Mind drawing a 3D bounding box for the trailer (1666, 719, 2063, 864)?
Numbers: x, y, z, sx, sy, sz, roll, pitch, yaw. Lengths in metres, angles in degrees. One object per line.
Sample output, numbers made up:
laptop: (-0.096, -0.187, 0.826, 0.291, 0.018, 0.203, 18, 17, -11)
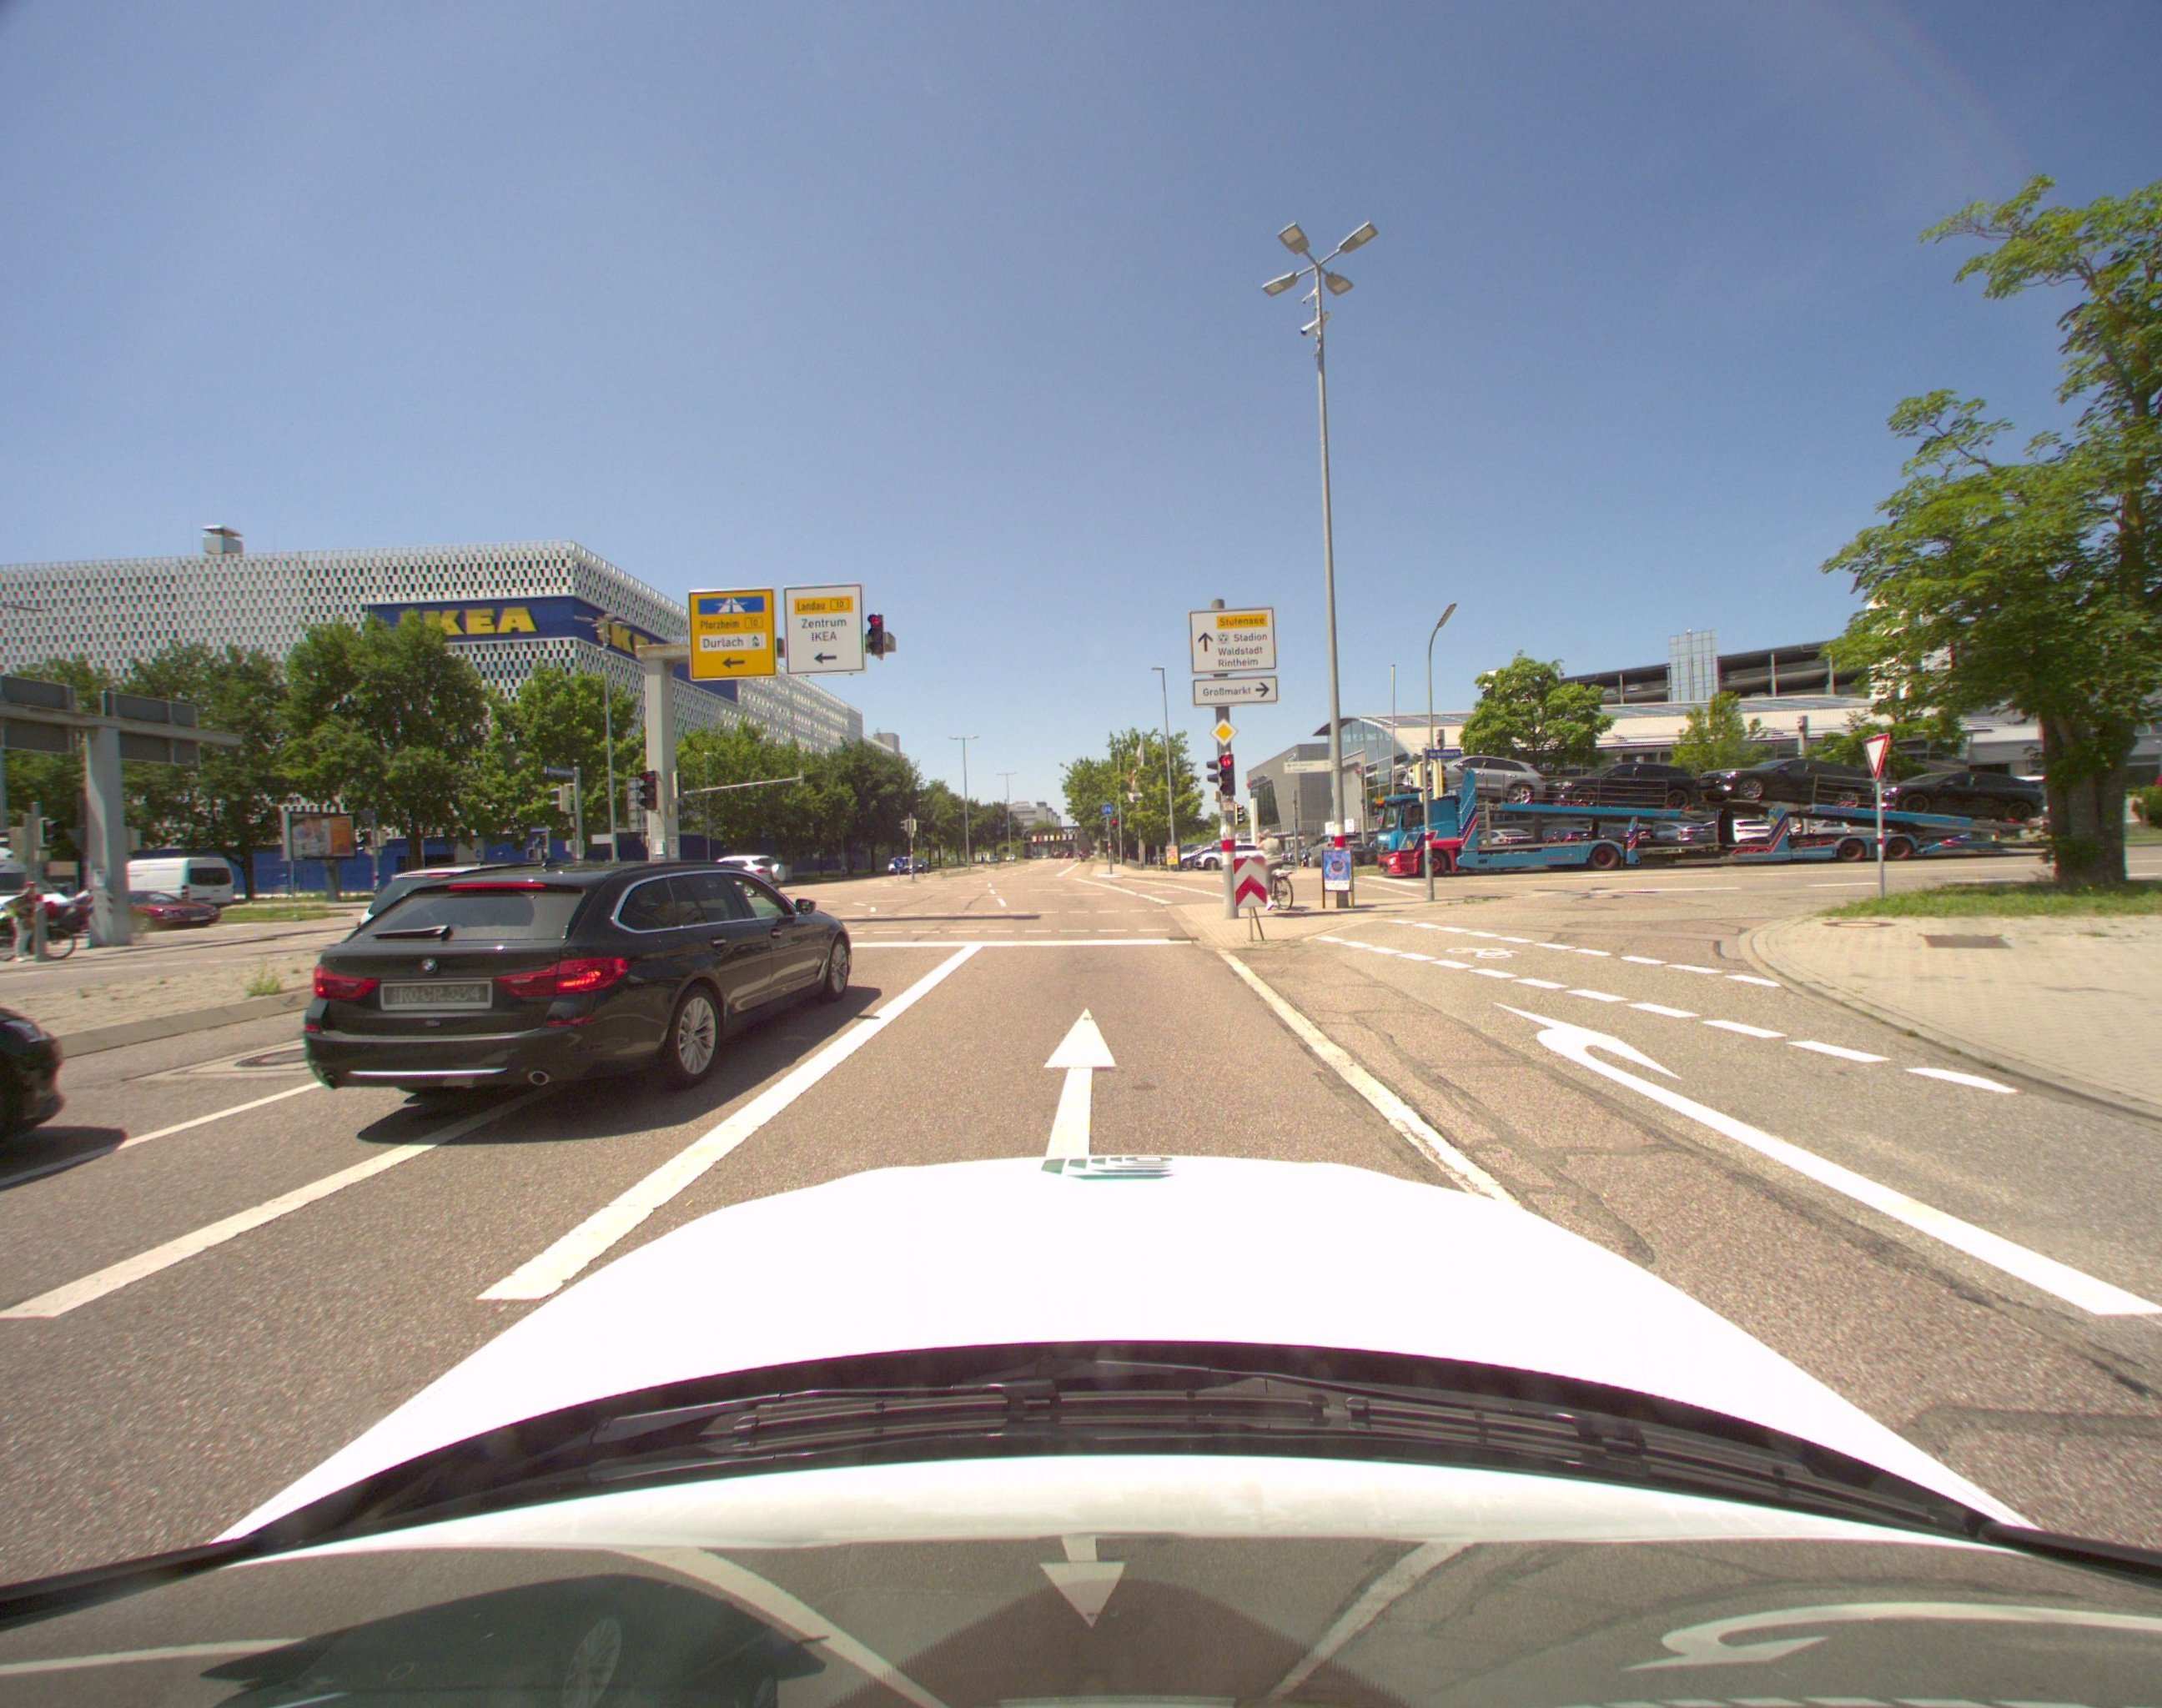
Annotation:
trailer: (25.531, -1.953, 27.068, 9.561, 4.081, 3.101, -2, 1, 7)

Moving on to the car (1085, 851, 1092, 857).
car: (2.177, 0.019, 229.758, 1.766, 1.728, 4.000, -3, 0, 1)

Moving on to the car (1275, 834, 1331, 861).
car: (18.146, -0.542, 66.656, 3.972, 2.013, 2.001, -3, 0, 1)

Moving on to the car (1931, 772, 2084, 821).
car: (45.272, -2.785, 39.888, 5.110, 2.013, 2.001, -3, 0, 1)

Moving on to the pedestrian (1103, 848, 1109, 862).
pedestrian: (2.884, 0.118, 93.623, 0.665, 1.510, 0.736, -3, 0, 1)

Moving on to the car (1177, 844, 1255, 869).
car: (8.888, 0.144, 53.893, 4.727, 1.457, 1.999, -2, 1, -1)

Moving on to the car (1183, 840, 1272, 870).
car: (8.264, 0.084, 46.174, 4.722, 1.457, 2.001, -2, -1, 2)

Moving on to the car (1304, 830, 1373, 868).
car: (12.247, -0.276, 39.064, 1.987, 1.639, 4.269, -2, 1, 1)

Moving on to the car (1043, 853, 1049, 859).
car: (-10.853, 0.658, 254.867, 1.644, 1.653, 4.161, -3, 0, -2)

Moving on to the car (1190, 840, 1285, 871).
car: (8.252, 0.064, 43.260, 4.722, 1.457, 2.002, -2, 1, 2)

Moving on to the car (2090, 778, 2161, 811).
car: (63.874, -3.605, 48.846, 1.727, 1.786, 4.001, -3, 0, 1)

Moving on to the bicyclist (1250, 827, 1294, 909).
bicyclist: (4.175, 0.297, 17.858, 0.732, 1.749, 0.753, -1, 1, -4)

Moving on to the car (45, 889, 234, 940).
car: (-31.374, 2.000, 27.218, 4.266, 1.342, 1.777, -3, 1, 2)

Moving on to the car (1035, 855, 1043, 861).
car: (-11.099, 1.066, 213.106, 1.726, 1.427, 3.706, -4, 0, 1)

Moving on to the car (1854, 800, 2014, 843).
car: (39.167, -1.472, 37.566, 4.706, 1.639, 1.844, -3, 1, 23)

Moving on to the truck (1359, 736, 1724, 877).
truck: (15.494, -1.555, 28.221, 10.561, 4.082, 3.107, -2, 1, 7)

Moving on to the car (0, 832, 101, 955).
car: (-34.304, 1.245, 24.500, 6.876, 3.485, 2.184, -2, 2, 1)

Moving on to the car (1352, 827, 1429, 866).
car: (14.717, -0.375, 39.034, 1.987, 1.639, 4.558, -3, 1, 1)

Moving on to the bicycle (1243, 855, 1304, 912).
bicycle: (4.207, 0.610, 17.939, 0.785, 1.127, 1.919, -2, 1, -3)

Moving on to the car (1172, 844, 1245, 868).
car: (8.848, 0.114, 56.694, 4.727, 1.457, 1.999, -2, 1, -1)

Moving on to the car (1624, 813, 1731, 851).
car: (28.377, -1.023, 38.949, 1.821, 1.639, 4.475, -3, 1, 1)

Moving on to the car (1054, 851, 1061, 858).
car: (-6.566, 0.147, 225.452, 1.766, 1.728, 4.000, -3, 0, 1)

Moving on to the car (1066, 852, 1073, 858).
car: (-3.128, 0.259, 230.508, 1.766, 1.728, 4.000, -3, 0, 1)

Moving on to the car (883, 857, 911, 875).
car: (-21.268, 1.369, 94.336, 1.986, 2.007, 4.765, -3, 0, 1)

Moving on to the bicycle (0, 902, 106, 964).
bicycle: (-23.519, 1.779, 18.185, 2.089, 1.212, 0.995, -3, 0, -5)

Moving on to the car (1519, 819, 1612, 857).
car: (23.150, -0.767, 39.108, 1.821, 1.639, 4.475, -3, 1, 1)

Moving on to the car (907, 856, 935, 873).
car: (-16.315, 1.051, 83.390, 1.868, 1.598, 4.497, -3, 0, 1)

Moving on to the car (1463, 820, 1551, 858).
car: (20.292, -0.702, 39.052, 1.879, 1.639, 4.525, -3, 1, 1)

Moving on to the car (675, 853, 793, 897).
car: (-14.279, 0.847, 33.594, 4.168, 1.651, 1.720, -2, 0, 11)

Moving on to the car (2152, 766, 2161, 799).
car: (67.942, -4.481, 48.727, 1.988, 2.013, 4.348, -3, 0, -1)

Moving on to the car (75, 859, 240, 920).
car: (-41.744, 1.575, 36.887, 5.464, 2.566, 2.003, -2, 0, 5)

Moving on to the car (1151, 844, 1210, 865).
car: (8.475, 0.043, 69.777, 4.728, 1.457, 1.999, -3, 1, -1)

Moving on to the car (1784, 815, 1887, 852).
car: (40.471, -1.070, 43.777, 3.721, 1.772, 1.781, -2, 0, 31)

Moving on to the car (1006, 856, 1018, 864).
car: (-15.072, 1.303, 176.878, 1.918, 1.665, 4.093, -3, 0, 4)

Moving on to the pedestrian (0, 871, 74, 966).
pedestrian: (-23.526, 1.416, 18.179, 0.903, 2.013, 0.863, -3, 0, -5)

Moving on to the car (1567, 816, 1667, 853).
car: (25.638, -0.919, 39.142, 1.822, 1.639, 4.474, -2, 1, 0)

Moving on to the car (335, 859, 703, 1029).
car: (-6.218, 0.858, 9.693, 1.795, 1.494, 3.993, -2, 0, -5)

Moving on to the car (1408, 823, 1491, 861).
car: (17.540, -0.584, 39.012, 1.987, 1.639, 4.442, -3, 1, 1)

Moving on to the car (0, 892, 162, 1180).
car: (-6.334, 0.968, 2.482, 1.741, 1.390, 4.537, -2, 0, 3)

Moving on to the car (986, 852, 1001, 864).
car: (-16.221, 0.759, 151.192, 1.984, 2.014, 4.005, -2, -2, 5)

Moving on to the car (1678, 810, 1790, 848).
car: (31.198, -1.168, 39.104, 1.821, 1.639, 4.475, -3, 1, 1)

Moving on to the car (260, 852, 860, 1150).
car: (-3.334, 0.756, 6.548, 1.794, 1.465, 4.623, -1, 1, 0)

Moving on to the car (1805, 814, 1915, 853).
car: (39.407, -1.007, 41.316, 3.665, 1.777, 1.759, -2, 0, 28)

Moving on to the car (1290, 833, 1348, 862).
car: (18.780, -0.513, 64.412, 3.972, 2.013, 2.001, -3, 0, 1)
